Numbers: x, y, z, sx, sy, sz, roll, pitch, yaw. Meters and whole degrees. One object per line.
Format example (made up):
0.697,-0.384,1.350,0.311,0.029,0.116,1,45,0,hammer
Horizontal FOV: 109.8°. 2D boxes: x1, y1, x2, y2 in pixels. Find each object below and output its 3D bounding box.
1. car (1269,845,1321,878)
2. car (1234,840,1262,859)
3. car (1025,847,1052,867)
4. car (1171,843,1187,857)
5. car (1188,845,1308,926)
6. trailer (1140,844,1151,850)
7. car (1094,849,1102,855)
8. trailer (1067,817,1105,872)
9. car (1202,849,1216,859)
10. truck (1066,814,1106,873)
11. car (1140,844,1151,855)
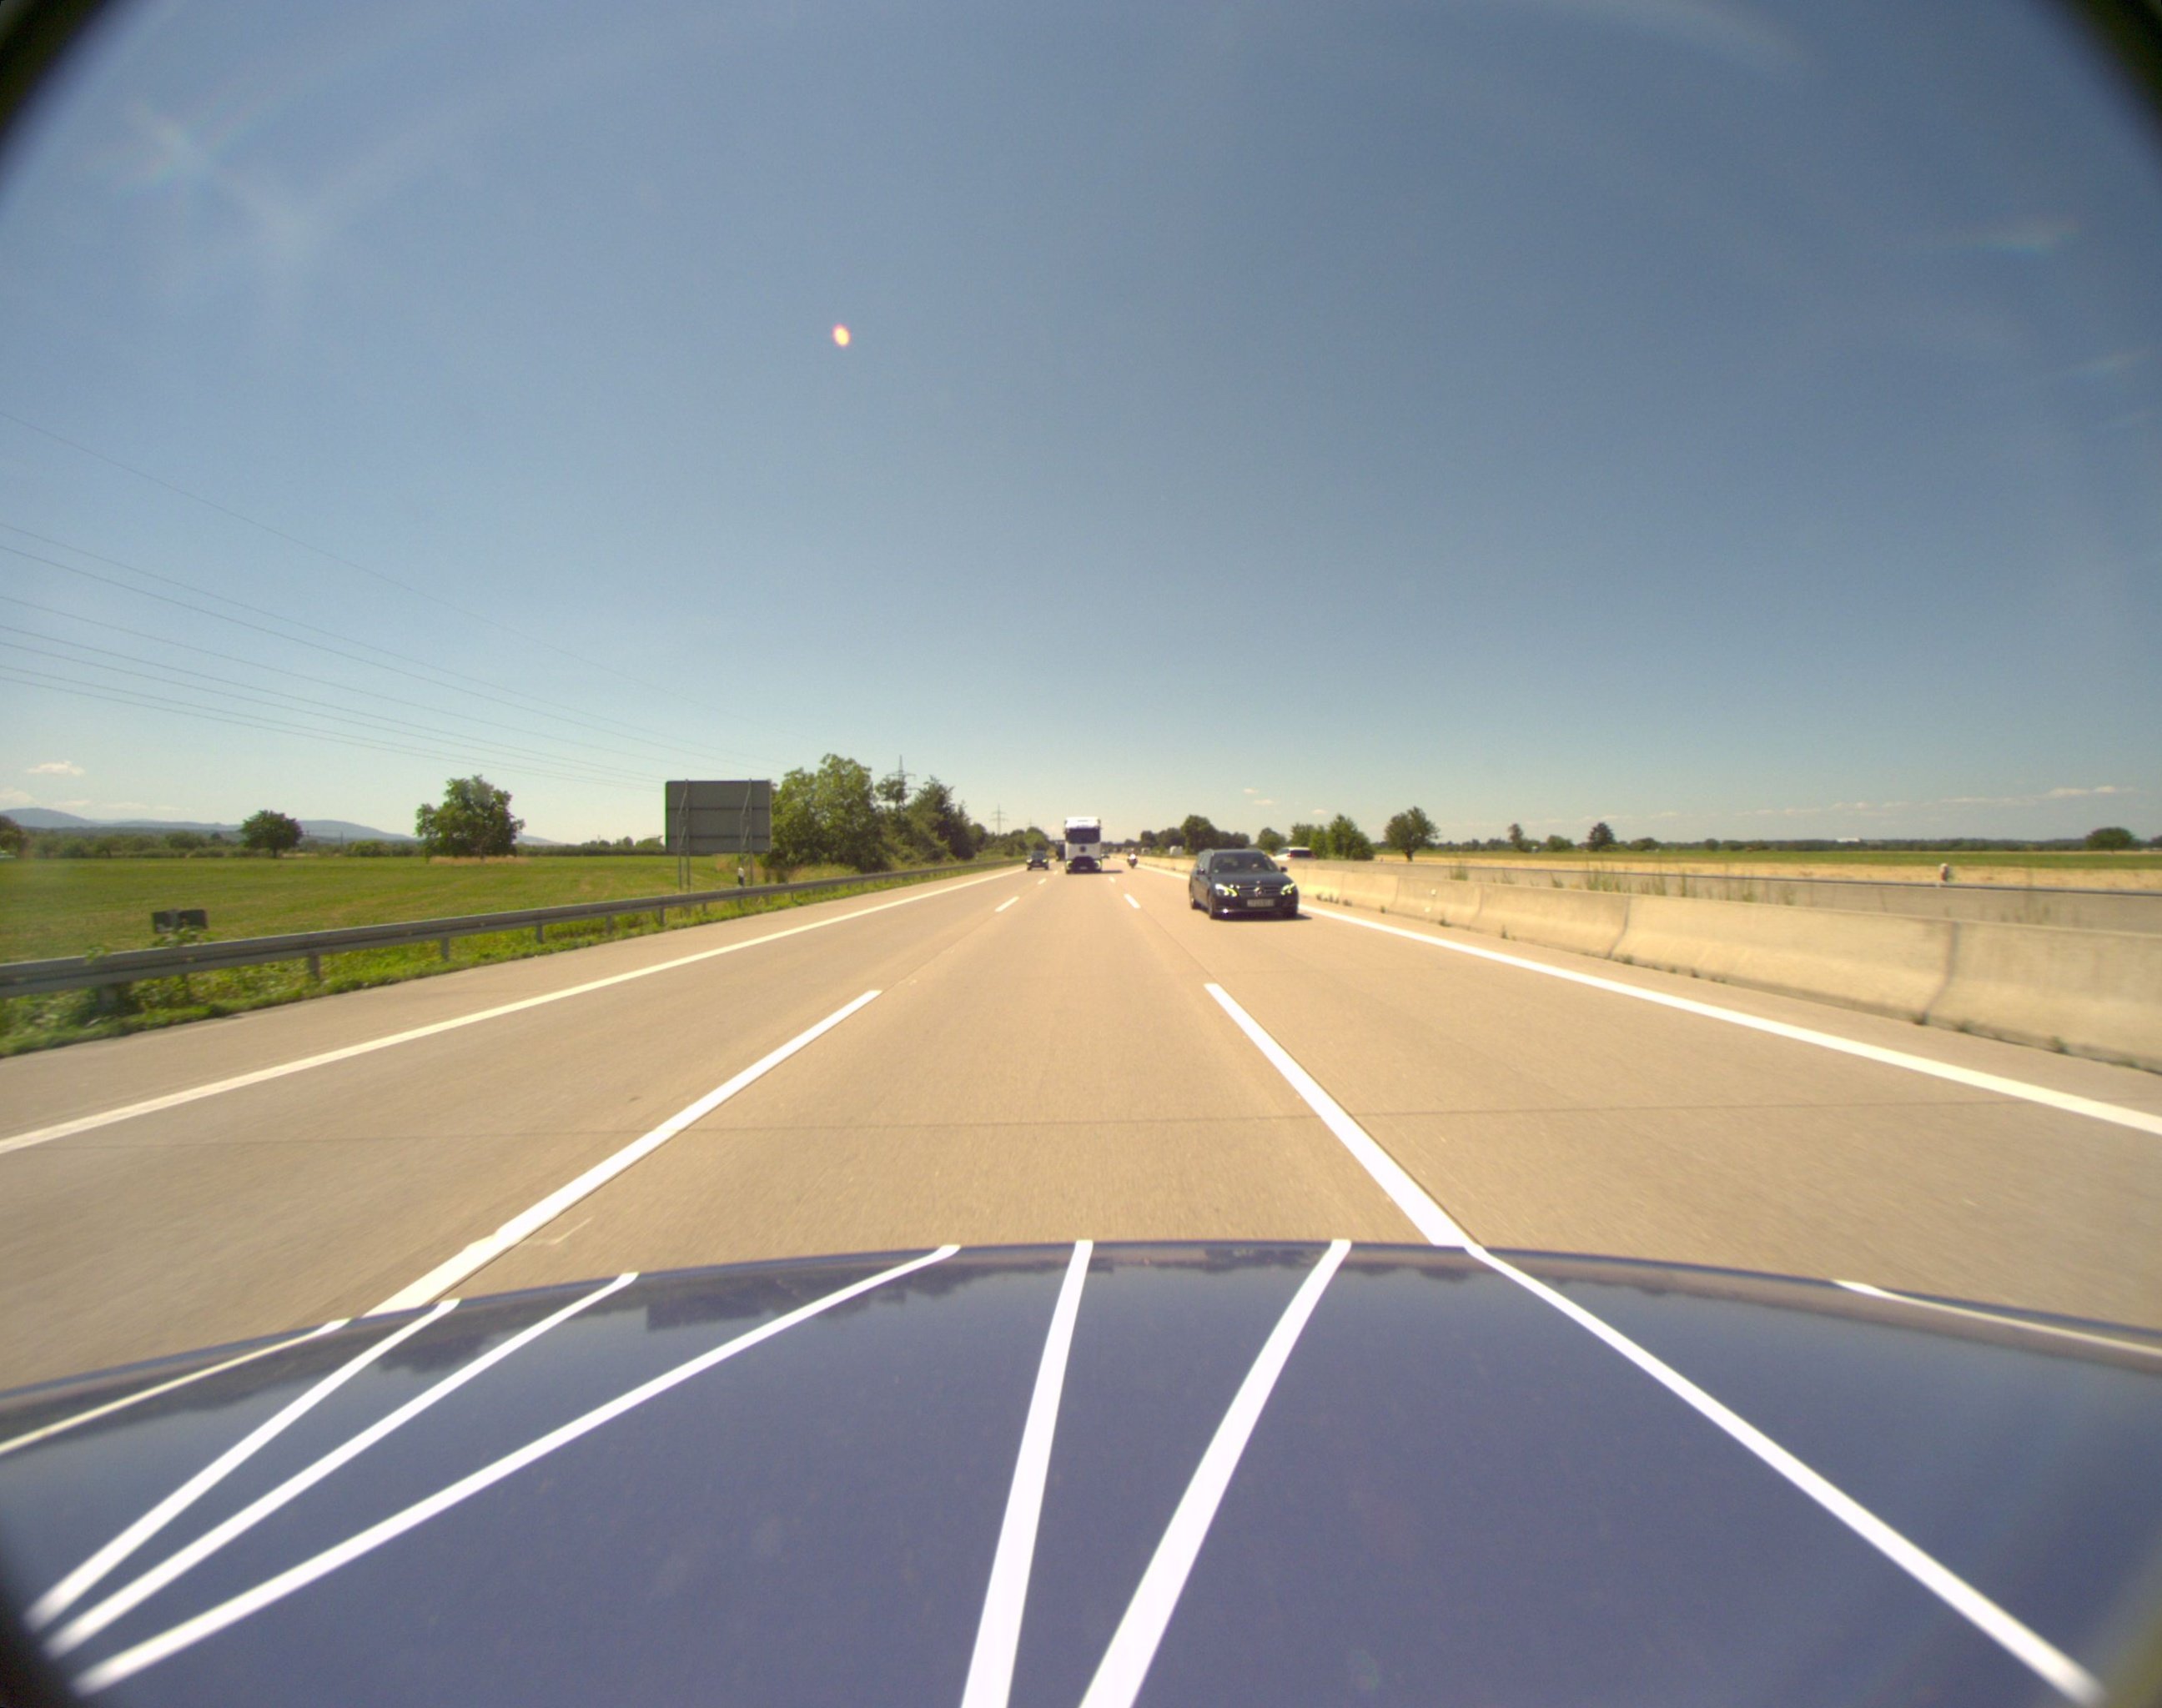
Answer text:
12.820,0.403,45.758,1.911,1.849,4.000,-2,0,0,car
17.380,-0.468,79.307,1.998,1.903,4.402,-2,0,2,car
-3.809,0.248,68.663,1.998,1.772,4.000,-2,0,3,car
18.264,-0.687,142.420,2.218,2.505,6.124,-2,0,1,car
3.640,0.627,17.278,1.848,1.576,3.940,-2,0,1,car
18.352,-1.936,216.273,2.243,1.735,10.543,0,0,0,trailer
4.897,-0.550,215.330,1.999,1.827,4.815,-2,0,-2,car
0.316,-0.722,59.392,2.587,3.855,10.372,-2,0,0,trailer
22.041,0.041,131.134,1.758,1.674,4.842,-2,0,1,car
0.350,-0.721,53.644,2.587,3.855,4.983,-2,1,0,truck
18.243,-1.301,214.336,2.269,2.772,7.070,-2,0,0,car
